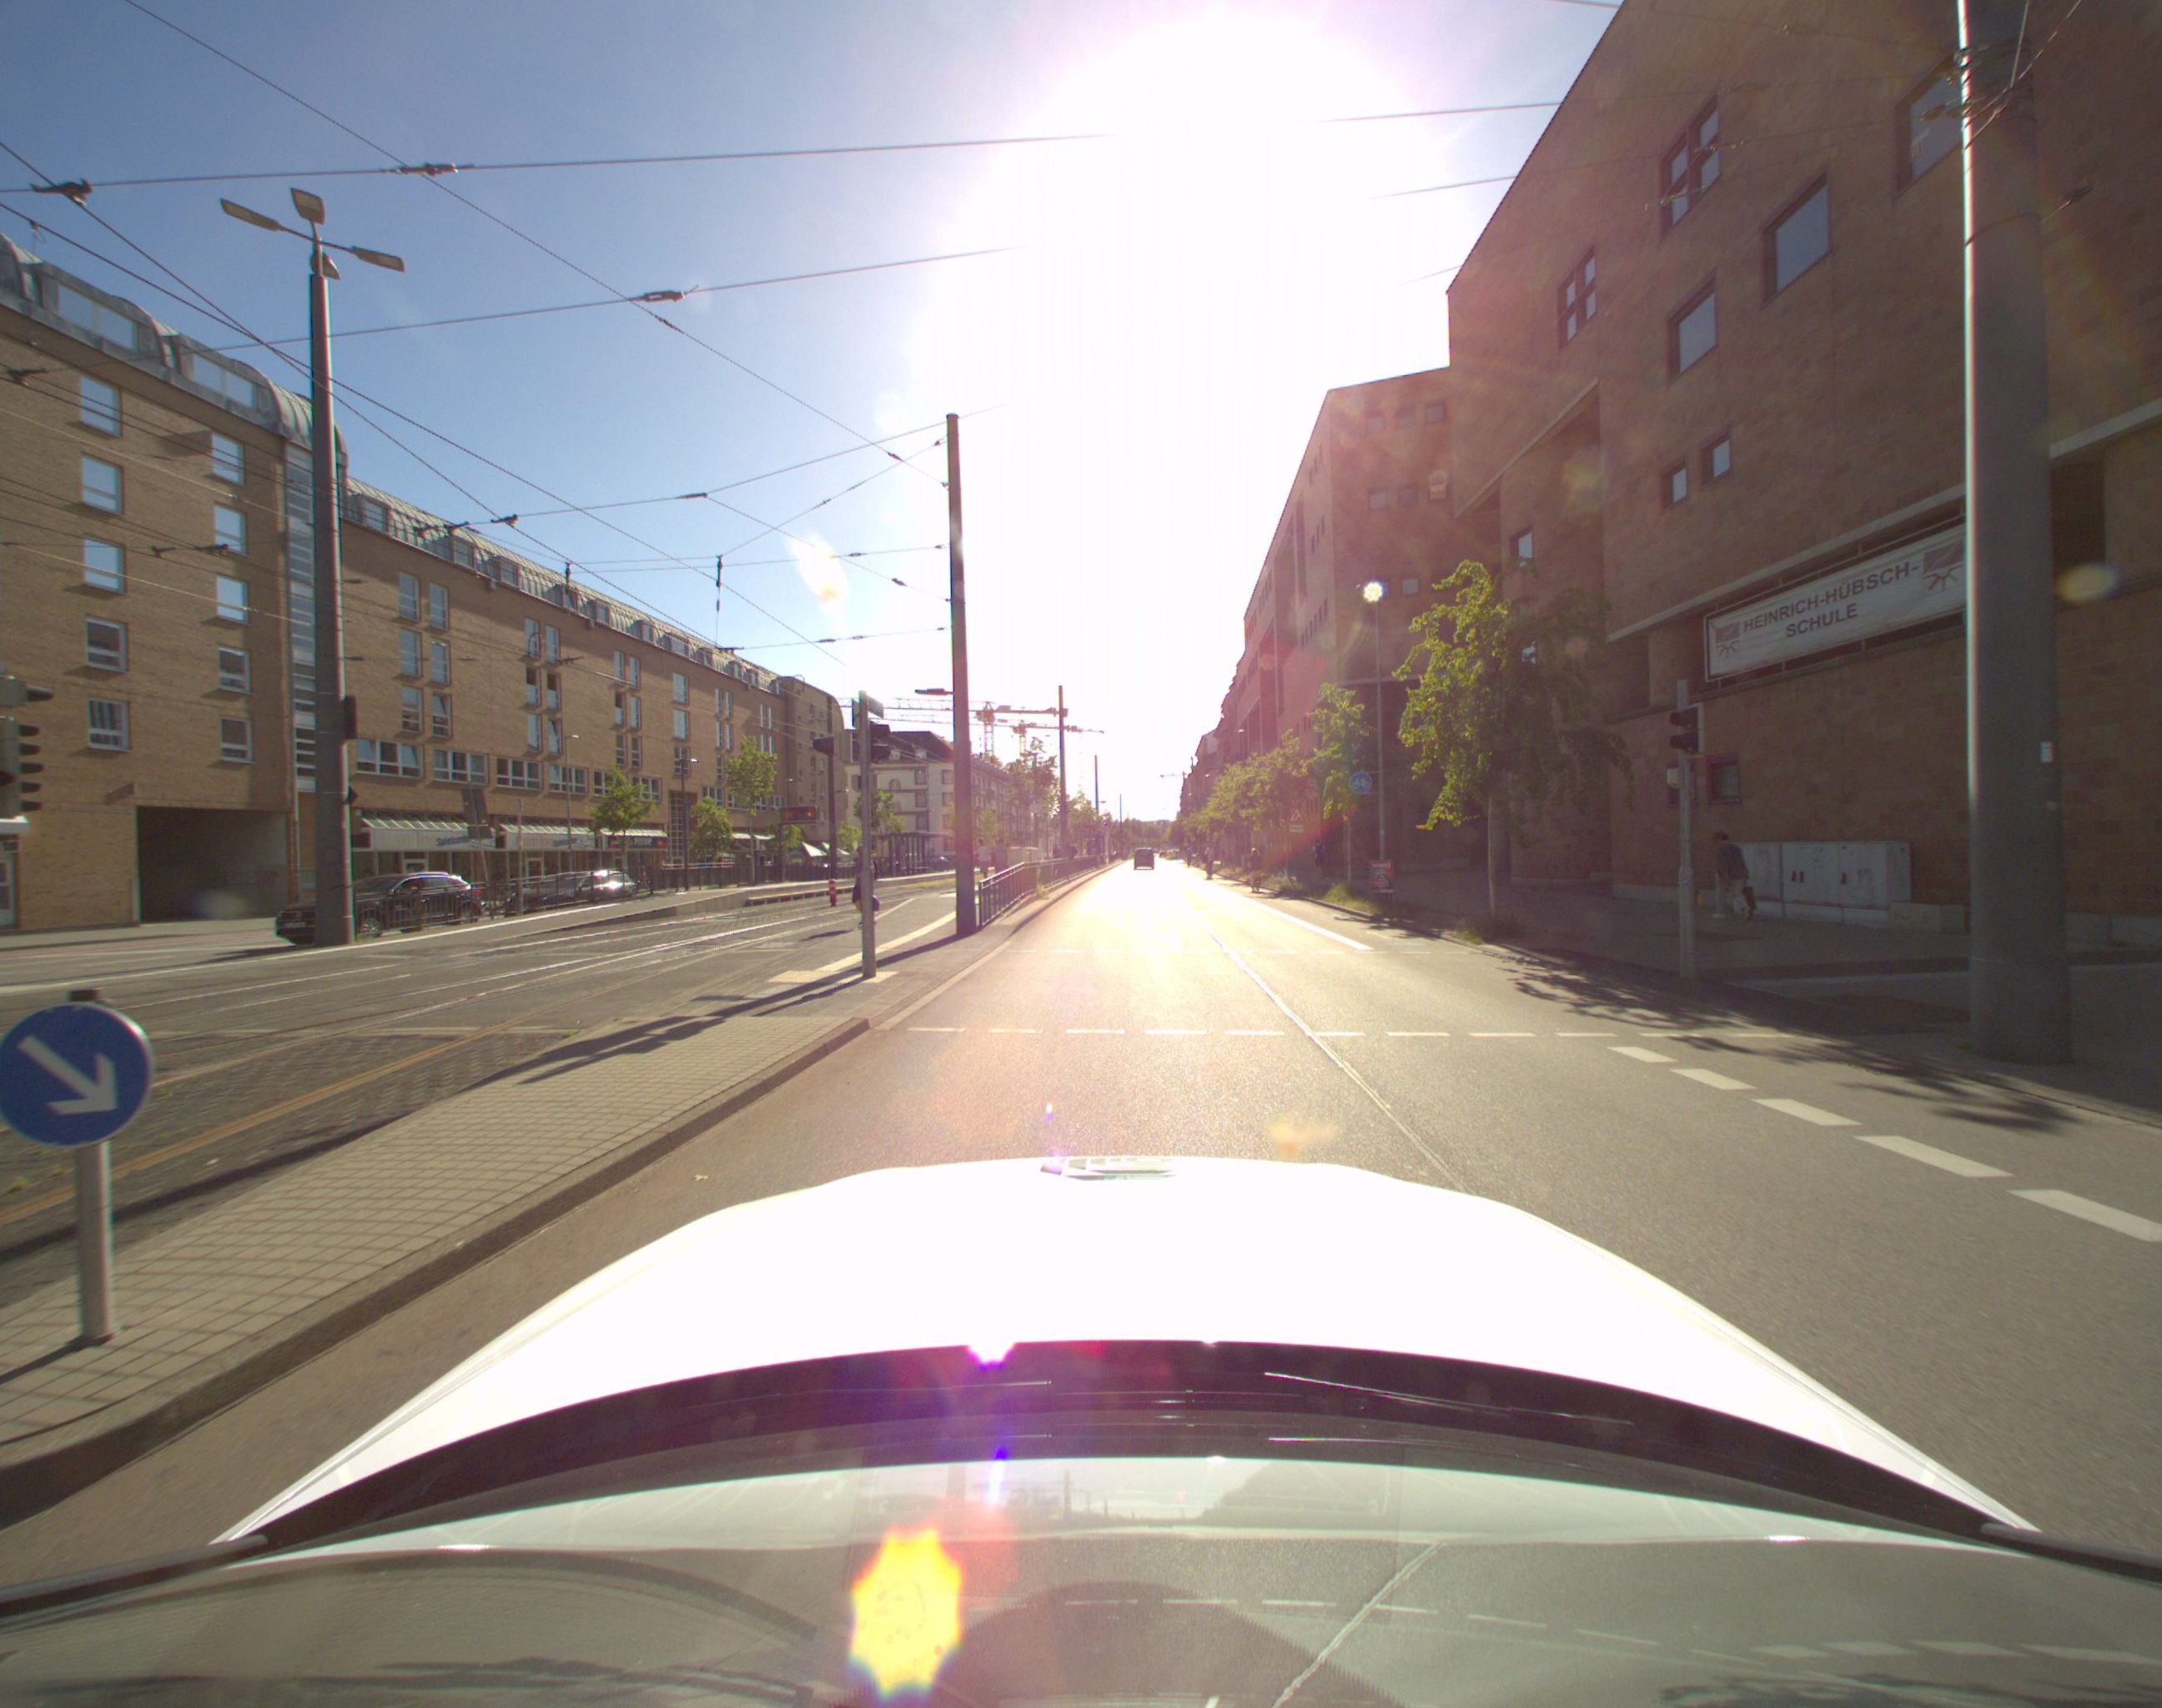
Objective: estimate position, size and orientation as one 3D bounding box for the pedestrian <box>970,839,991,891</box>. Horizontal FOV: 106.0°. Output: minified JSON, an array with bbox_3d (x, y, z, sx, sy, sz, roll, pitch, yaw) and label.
[{"bbox_3d":[-3.266,0.344,26.590,0.508,1.655,0.762,-2,0,2],"label":"pedestrian"}]

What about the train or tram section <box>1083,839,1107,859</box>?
[{"bbox_3d":[2.316,-0.789,126.694,2.314,3.003,13.187,0,1,7],"label":"train or tram section"}]

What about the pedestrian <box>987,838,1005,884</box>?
[{"bbox_3d":[-3.279,0.270,31.507,0.536,1.773,0.634,-2,0,2],"label":"pedestrian"}]

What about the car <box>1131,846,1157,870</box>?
[{"bbox_3d":[5.417,0.297,70.323,1.986,1.947,4.002,-2,0,2],"label":"car"}]

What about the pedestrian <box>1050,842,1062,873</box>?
[{"bbox_3d":[-1.388,0.196,45.277,0.598,1.655,0.666,-2,0,2],"label":"pedestrian"}]

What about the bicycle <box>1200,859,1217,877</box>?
[{"bbox_3d":[7.522,0.824,48.161,0.664,0.985,2.587,-1,0,2],"label":"bicycle"}]

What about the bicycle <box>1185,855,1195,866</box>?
[{"bbox_3d":[10.545,0.645,78.937,0.664,0.985,2.587,-1,0,2],"label":"bicycle"}]

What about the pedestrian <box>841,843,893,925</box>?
[{"bbox_3d":[-4.620,0.627,17.575,0.866,1.669,0.611,-5,1,-27],"label":"pedestrian"}]

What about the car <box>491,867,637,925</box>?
[{"bbox_3d":[-16.299,1.260,25.974,1.602,1.398,4.233,-5,1,4],"label":"car"}]

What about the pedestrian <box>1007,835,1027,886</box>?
[{"bbox_3d":[-2.143,0.214,27.192,0.536,1.655,0.707,-2,0,2],"label":"pedestrian"}]

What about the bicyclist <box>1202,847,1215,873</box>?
[{"bbox_3d":[7.499,0.364,48.015,0.664,1.527,0.707,-1,0,2],"label":"bicyclist"}]

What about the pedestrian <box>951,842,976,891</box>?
[{"bbox_3d":[-3.893,0.414,27.005,0.598,1.566,0.914,-2,0,2],"label":"pedestrian"}]

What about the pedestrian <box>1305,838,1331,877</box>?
[{"bbox_3d":[10.832,0.152,37.243,0.876,1.717,0.932,-2,0,2],"label":"pedestrian"}]

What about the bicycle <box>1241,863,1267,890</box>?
[{"bbox_3d":[6.942,0.894,32.738,0.600,0.985,2.316,-1,0,2],"label":"bicycle"}]

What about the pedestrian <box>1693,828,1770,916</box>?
[{"bbox_3d":[12.077,0.330,15.154,0.615,1.563,0.987,-2,0,2],"label":"pedestrian"}]

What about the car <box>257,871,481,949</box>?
[{"bbox_3d":[-16.876,1.254,19.602,1.602,1.398,3.925,-5,1,4],"label":"car"}]

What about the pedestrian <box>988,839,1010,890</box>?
[{"bbox_3d":[-2.706,0.334,26.967,0.536,1.655,0.896,-2,0,2],"label":"pedestrian"}]

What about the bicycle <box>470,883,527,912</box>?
[{"bbox_3d":[-27.862,2.099,38.948,2.467,1.310,0.736,-2,0,14],"label":"bicycle"}]

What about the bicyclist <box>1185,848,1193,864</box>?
[{"bbox_3d":[10.523,0.165,79.042,0.664,1.527,0.707,-1,0,2],"label":"bicyclist"}]

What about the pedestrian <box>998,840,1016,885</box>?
[{"bbox_3d":[-2.592,0.300,28.673,0.517,1.551,0.600,-2,0,0],"label":"pedestrian"}]

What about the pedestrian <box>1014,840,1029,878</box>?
[{"bbox_3d":[-2.609,0.218,35.502,0.536,1.655,0.634,-2,0,2],"label":"pedestrian"}]

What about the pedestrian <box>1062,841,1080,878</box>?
[{"bbox_3d":[-0.478,0.253,39.292,0.717,1.735,0.599,-2,0,-15],"label":"pedestrian"}]

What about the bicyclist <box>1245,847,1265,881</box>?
[{"bbox_3d":[6.904,0.384,32.360,0.590,1.335,0.934,-1,0,2],"label":"bicyclist"}]
